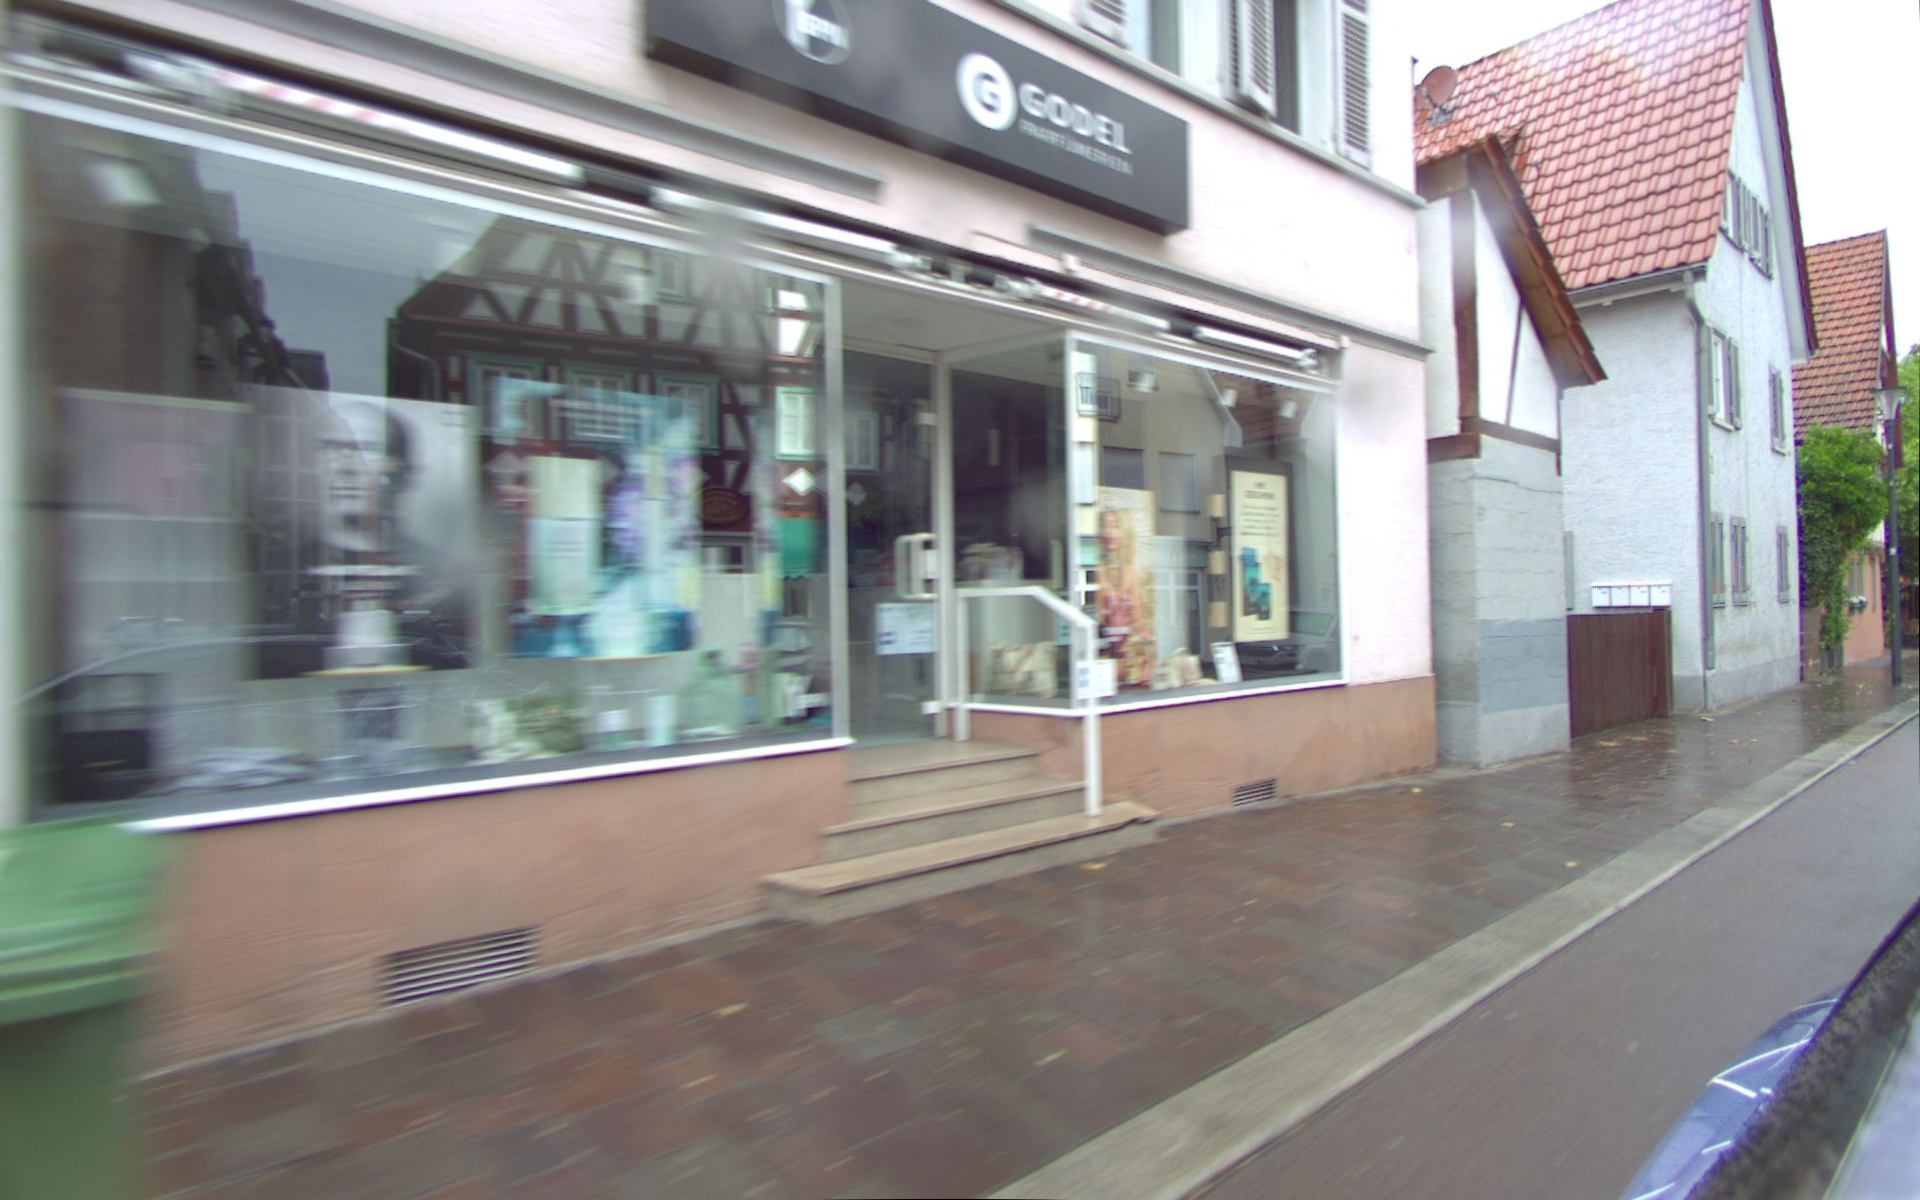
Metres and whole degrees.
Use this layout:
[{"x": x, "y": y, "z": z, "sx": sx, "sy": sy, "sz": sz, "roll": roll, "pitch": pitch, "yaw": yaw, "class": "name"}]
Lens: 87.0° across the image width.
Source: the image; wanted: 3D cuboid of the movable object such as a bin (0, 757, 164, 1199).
[{"x": -1.409, "y": 0.891, "z": 1.335, "sx": 0.563, "sy": 1.216, "sz": 0.720, "roll": -1, "pitch": 0, "yaw": -39, "class": "movable object such as a bin"}]
